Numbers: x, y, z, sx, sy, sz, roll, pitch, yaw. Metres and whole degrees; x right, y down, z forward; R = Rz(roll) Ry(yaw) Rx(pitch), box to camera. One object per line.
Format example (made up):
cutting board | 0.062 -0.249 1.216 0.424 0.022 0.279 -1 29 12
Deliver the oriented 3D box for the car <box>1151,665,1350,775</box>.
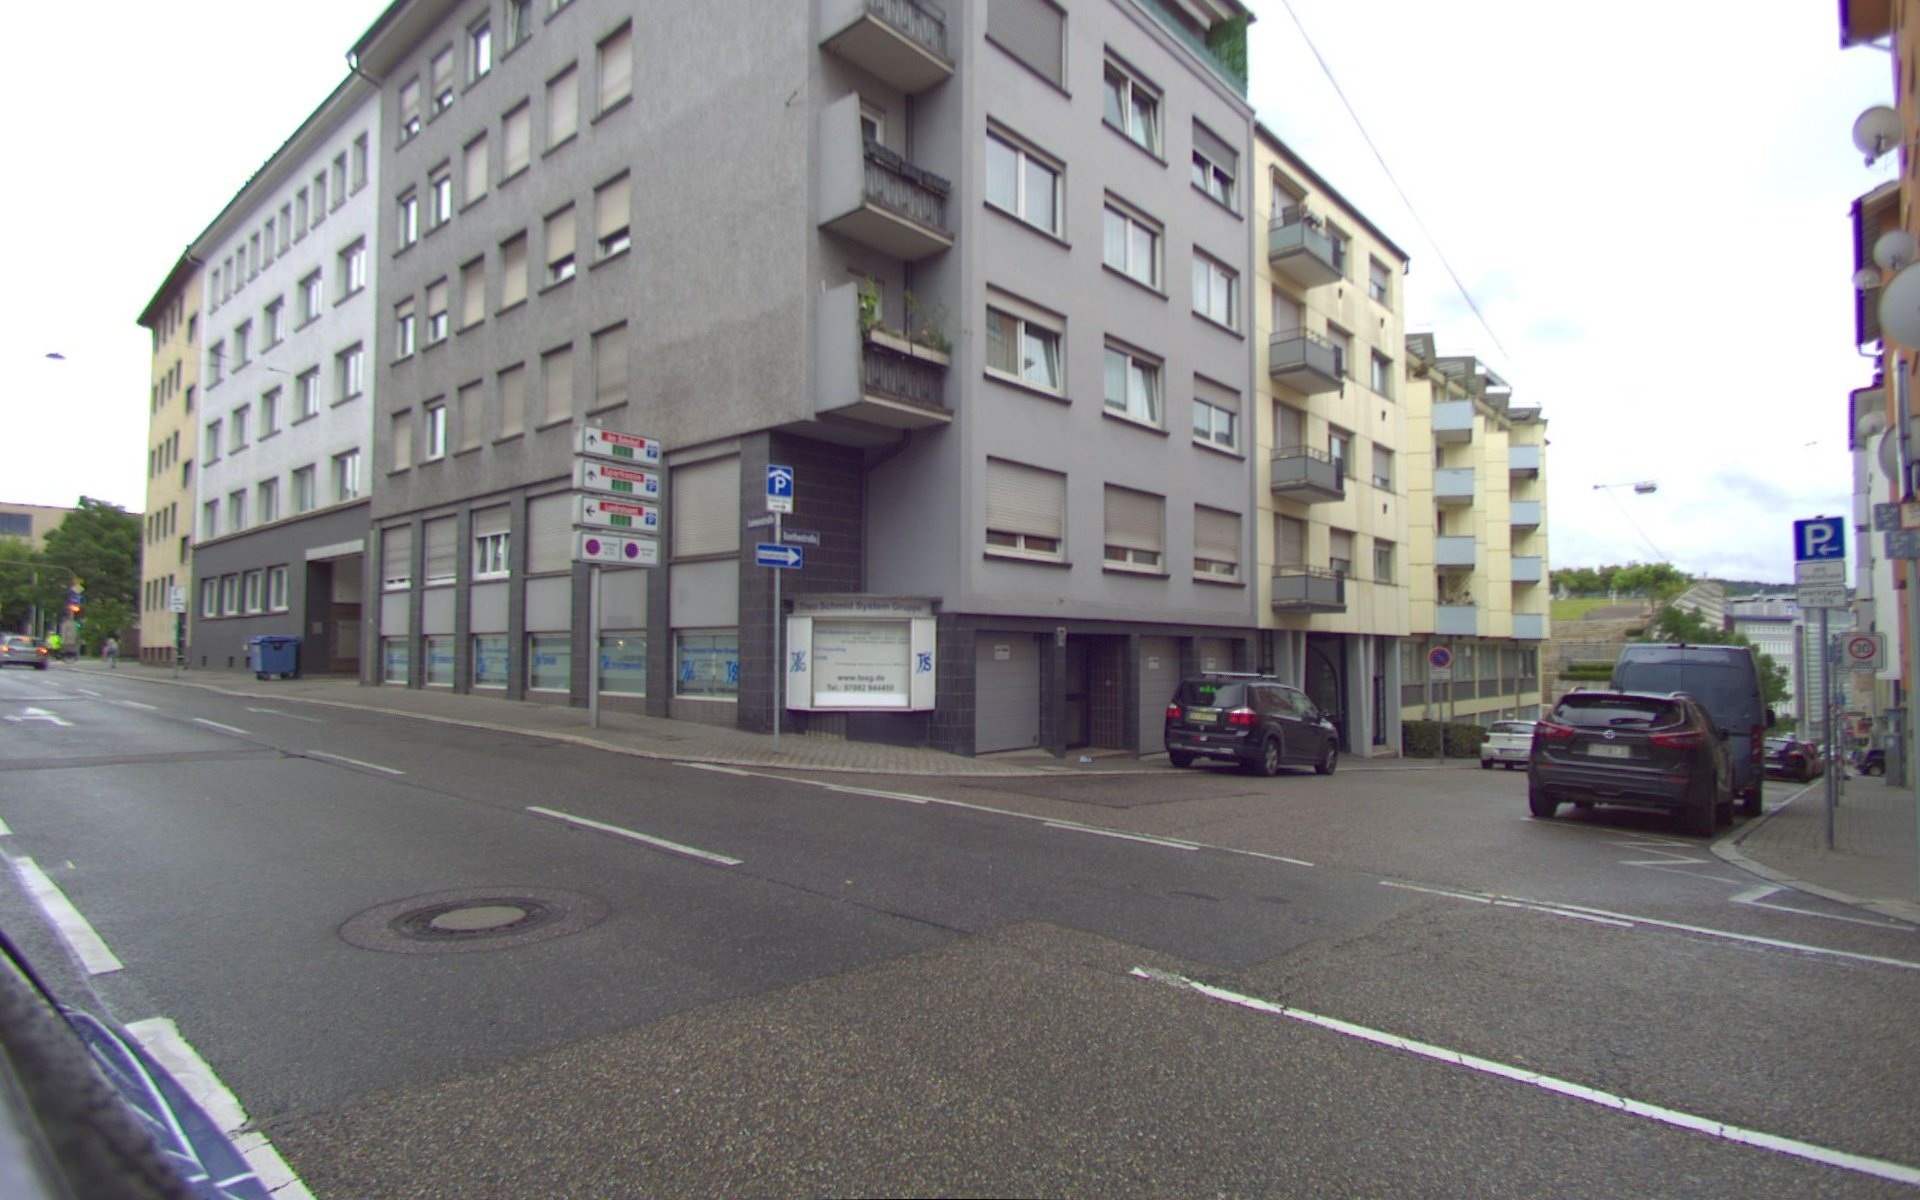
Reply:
car | 5.321 2.194 18.191 1.794 1.700 4.186 -1 -8 41

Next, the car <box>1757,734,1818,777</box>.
car | 33.003 6.194 40.327 1.722 1.506 3.998 -1 -8 41

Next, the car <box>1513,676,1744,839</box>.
car | 8.335 1.894 12.468 1.842 1.589 4.098 -1 -8 41

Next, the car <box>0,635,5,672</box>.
car | -51.037 2.806 51.244 1.692 1.847 3.744 -2 0 42

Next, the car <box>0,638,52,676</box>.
car | -41.977 2.502 44.990 4.371 1.602 1.858 -1 -3 41

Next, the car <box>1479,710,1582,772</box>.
car | 16.578 4.068 29.314 1.840 1.559 3.945 -1 -7 41

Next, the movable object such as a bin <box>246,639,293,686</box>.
movable object such as a bin | -20.935 1.872 30.674 1.096 1.343 0.933 -2 0 42

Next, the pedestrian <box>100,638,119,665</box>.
pedestrian | -38.093 2.302 45.323 0.574 1.158 0.408 5 -5 -39

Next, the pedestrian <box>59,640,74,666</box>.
pedestrian | -47.121 2.794 53.355 0.535 1.380 0.436 -2 -6 43

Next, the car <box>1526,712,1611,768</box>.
car | 20.248 4.660 33.604 1.747 1.627 3.945 -1 -7 41

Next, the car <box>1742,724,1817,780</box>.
car | 28.032 5.186 34.584 1.817 1.688 3.998 -1 -8 41

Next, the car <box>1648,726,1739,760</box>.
car | 43.722 8.514 60.391 3.998 1.688 1.930 4 -6 1

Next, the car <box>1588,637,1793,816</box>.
car | 12.532 2.122 17.171 2.249 2.481 5.975 -2 -7 41

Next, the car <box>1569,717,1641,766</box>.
car | 24.396 5.359 38.228 1.747 1.627 3.945 -1 -8 41
